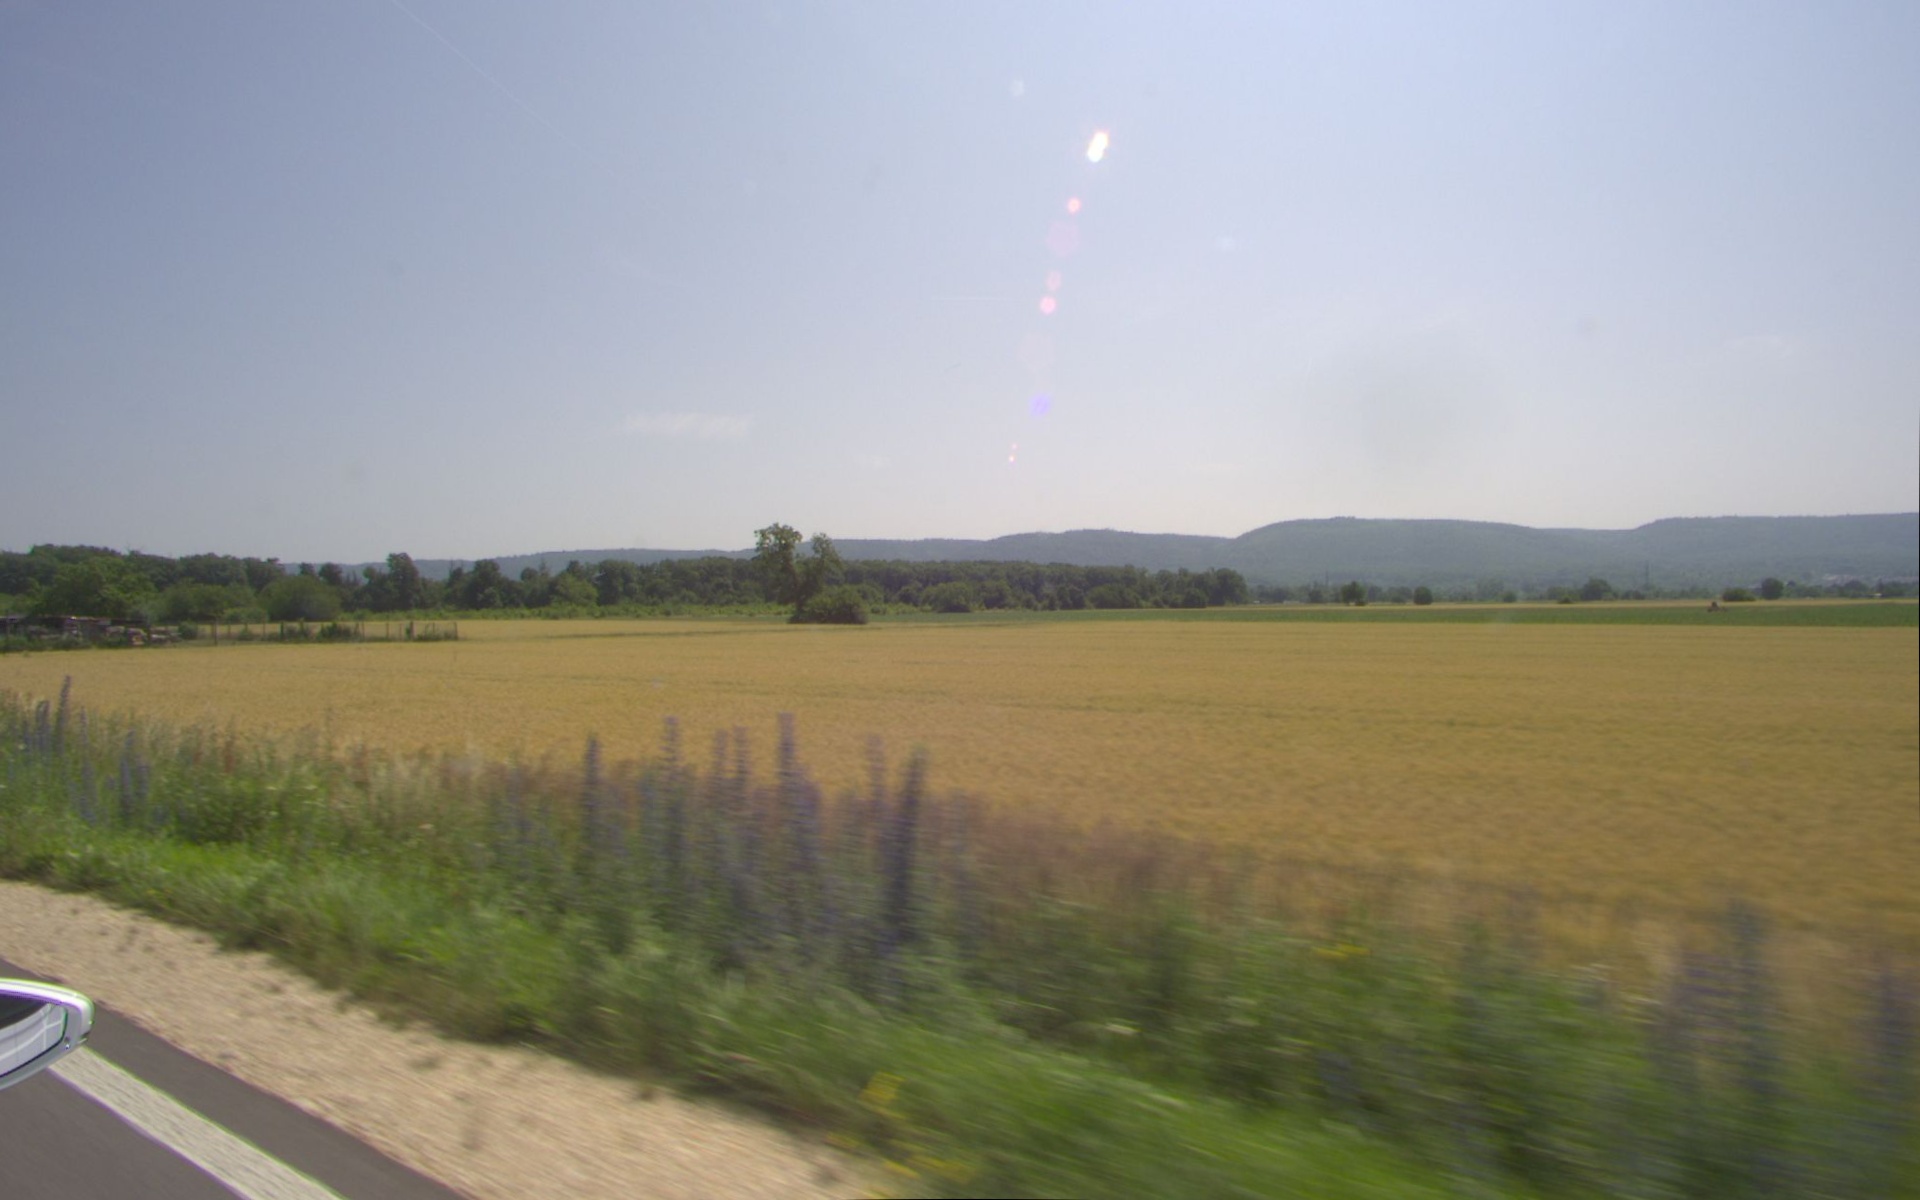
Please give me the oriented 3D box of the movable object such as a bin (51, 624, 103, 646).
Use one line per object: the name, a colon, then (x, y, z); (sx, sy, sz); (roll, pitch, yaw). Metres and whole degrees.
movable object such as a bin: (-62.958, 2.484, 71.391); (3.602, 1.516, 1.570); (-1, -1, 28)
